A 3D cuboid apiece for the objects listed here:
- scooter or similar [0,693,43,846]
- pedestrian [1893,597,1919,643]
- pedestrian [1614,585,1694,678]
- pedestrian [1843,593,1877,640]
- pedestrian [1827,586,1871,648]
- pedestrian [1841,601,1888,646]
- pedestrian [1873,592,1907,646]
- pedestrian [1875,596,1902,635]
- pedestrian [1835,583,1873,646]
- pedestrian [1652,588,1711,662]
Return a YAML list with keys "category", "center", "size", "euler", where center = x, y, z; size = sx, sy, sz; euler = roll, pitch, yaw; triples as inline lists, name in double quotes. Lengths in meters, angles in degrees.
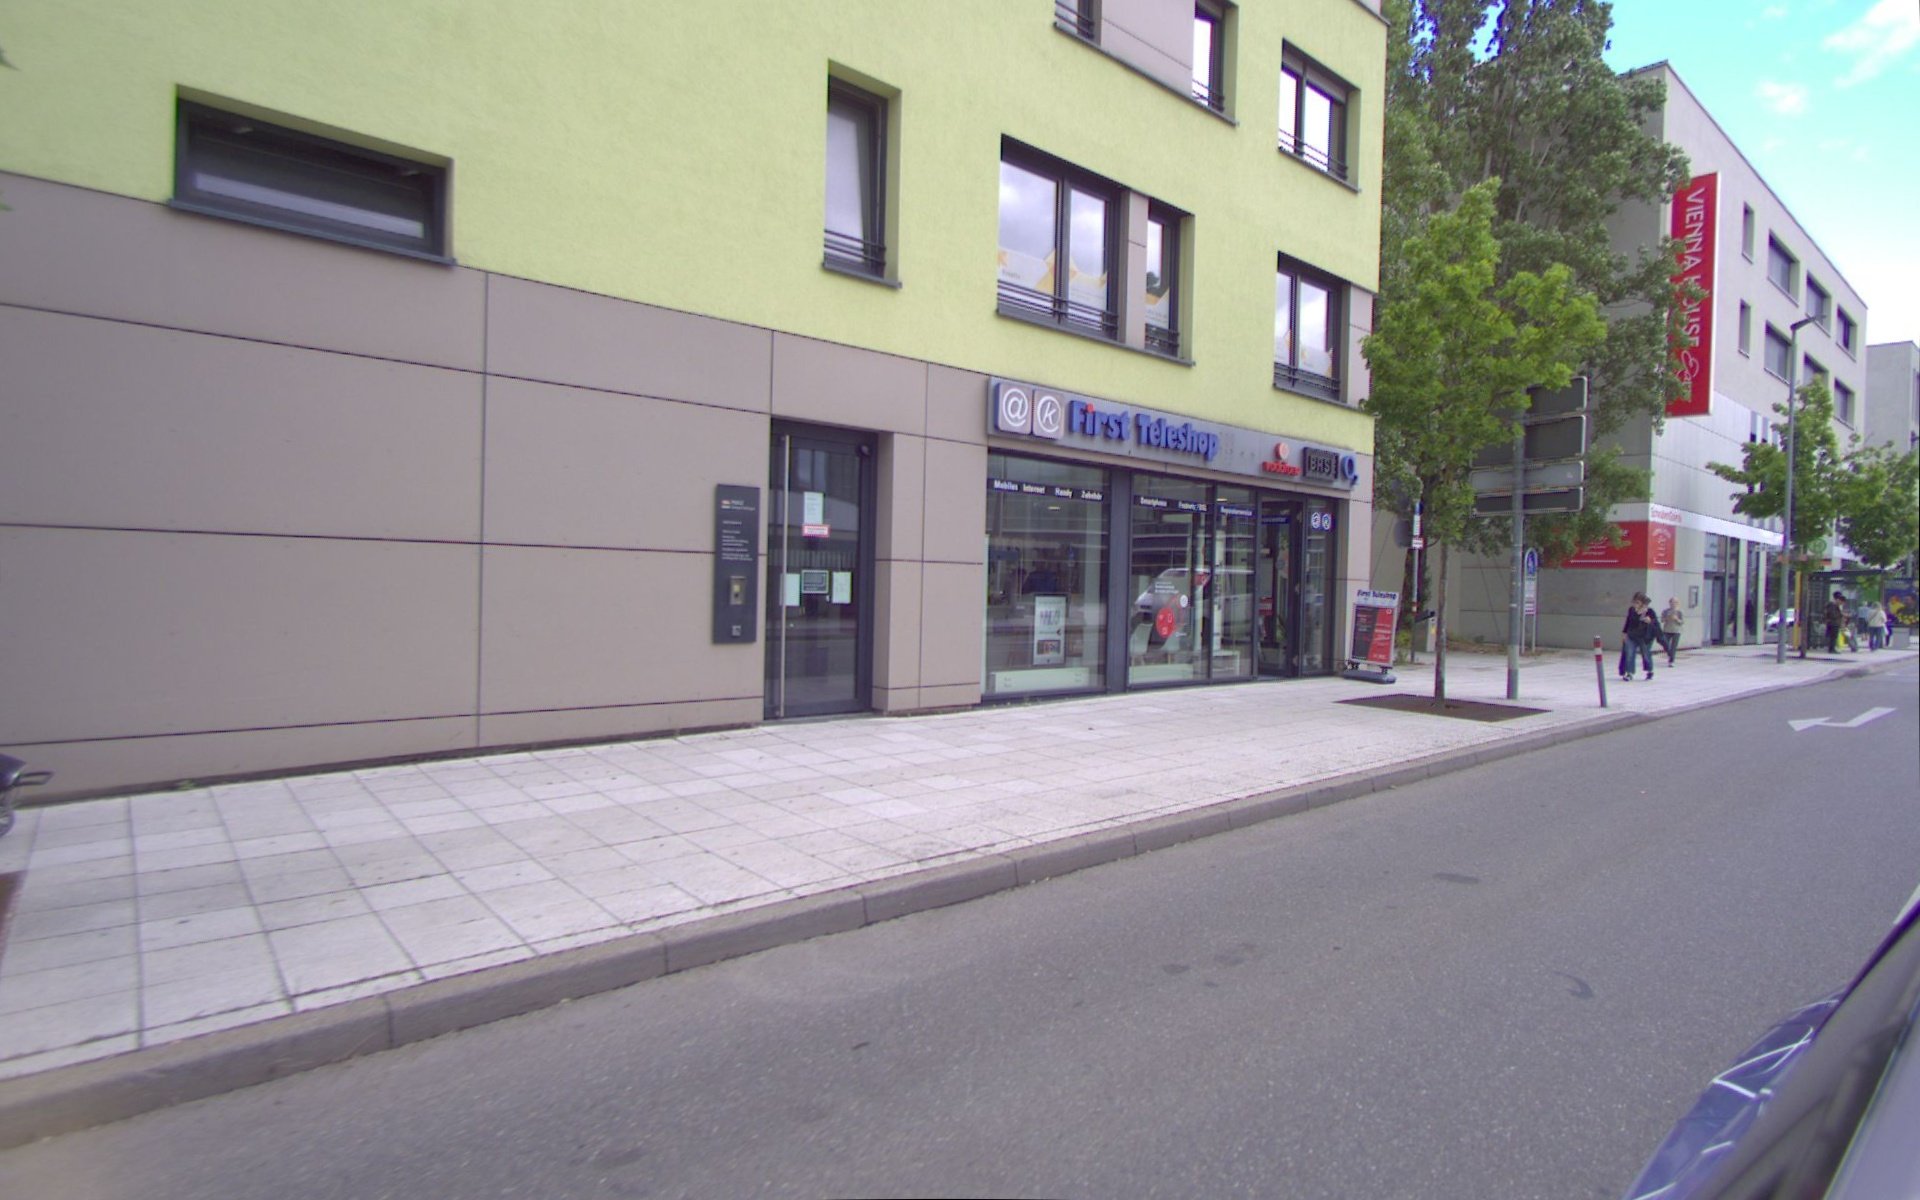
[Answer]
- category: "scooter or similar"
  center: [-5.167, 0.867, 5.083]
  size: [0.810, 0.681, 0.593]
  euler: [1, 3, -41]
- category: "pedestrian"
  center: [36.457, 0.765, 38.983]
  size: [0.603, 1.690, 0.656]
  euler: [1, 1, -40]
- category: "pedestrian"
  center: [12.685, 0.552, 18.500]
  size: [0.998, 1.603, 0.949]
  euler: [1, 2, -41]
- category: "pedestrian"
  center: [31.862, 0.578, 35.822]
  size: [0.702, 1.628, 0.742]
  euler: [1, 1, -40]
- category: "pedestrian"
  center: [25.488, 0.474, 29.029]
  size: [0.719, 1.704, 0.723]
  euler: [1, 2, -35]
- category: "pedestrian"
  center: [27.277, 0.689, 30.534]
  size: [0.720, 1.274, 0.944]
  euler: [1, 3, -43]
- category: "pedestrian"
  center: [28.760, 0.576, 31.297]
  size: [0.719, 1.610, 0.581]
  euler: [1, 2, -35]
- category: "pedestrian"
  center: [40.974, 0.684, 44.644]
  size: [0.603, 1.690, 0.746]
  euler: [1, 1, -40]
- category: "pedestrian"
  center: [26.367, 0.416, 29.862]
  size: [0.840, 1.791, 0.581]
  euler: [1, 2, -35]
- category: "pedestrian"
  center: [16.279, 0.549, 22.839]
  size: [0.790, 1.603, 0.870]
  euler: [1, 2, -41]
